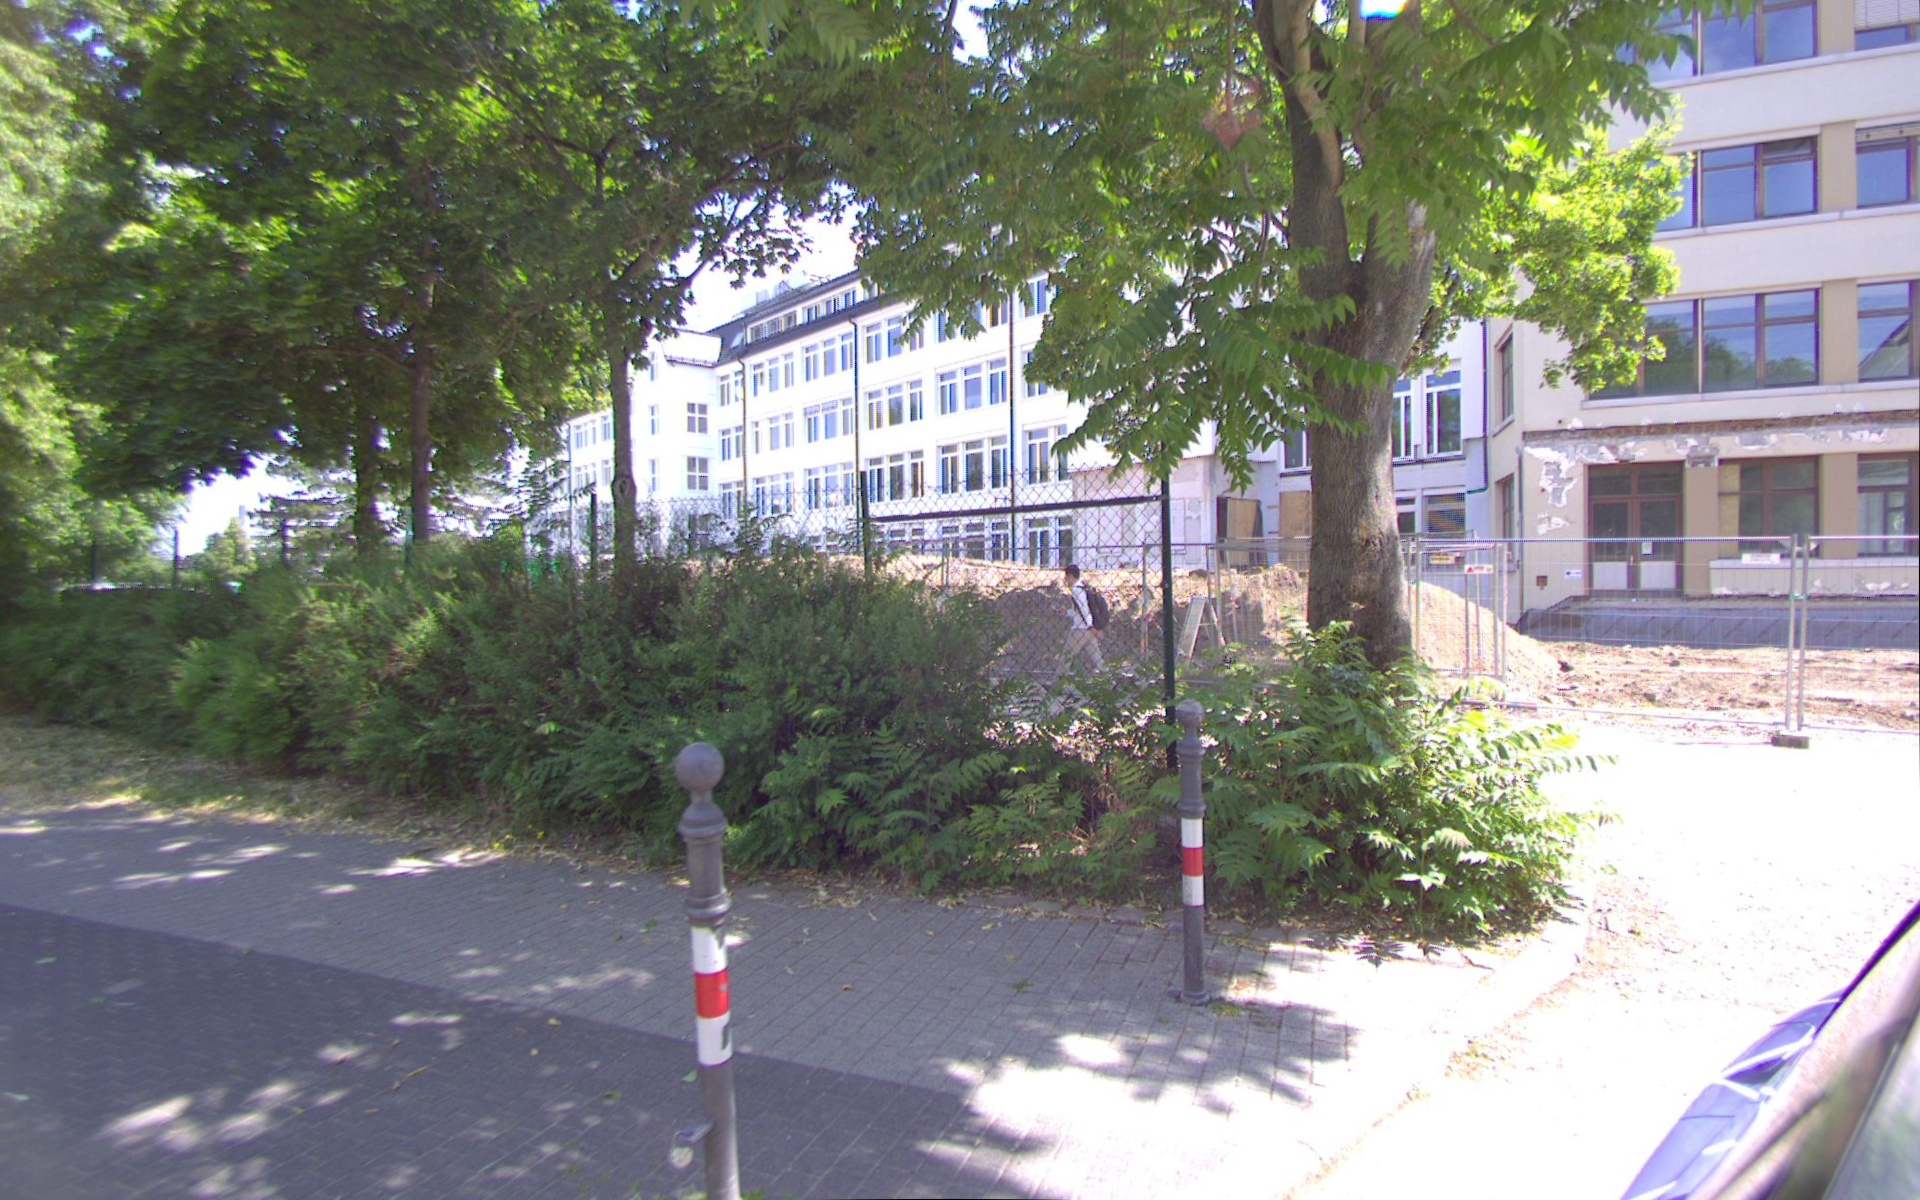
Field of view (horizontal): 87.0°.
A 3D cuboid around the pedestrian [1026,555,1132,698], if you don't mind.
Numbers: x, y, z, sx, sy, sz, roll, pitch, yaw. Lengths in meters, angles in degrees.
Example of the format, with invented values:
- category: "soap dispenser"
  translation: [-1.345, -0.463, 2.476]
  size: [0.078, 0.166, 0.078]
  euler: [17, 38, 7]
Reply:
- category: "pedestrian"
  translation: [1.541, 0.311, 13.104]
  size: [1.075, 1.751, 0.864]
  euler: [1, 1, 39]

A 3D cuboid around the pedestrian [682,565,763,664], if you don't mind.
- category: "pedestrian"
  translation: [-4.179, 0.225, 17.815]
  size: [1.021, 1.670, 1.047]
  euler: [-1, 1, -42]

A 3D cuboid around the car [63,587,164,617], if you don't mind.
- category: "car"
  translation: [-49.562, 0.087, 59.313]
  size: [4.444, 1.618, 1.722]
  euler: [-1, 1, -43]
